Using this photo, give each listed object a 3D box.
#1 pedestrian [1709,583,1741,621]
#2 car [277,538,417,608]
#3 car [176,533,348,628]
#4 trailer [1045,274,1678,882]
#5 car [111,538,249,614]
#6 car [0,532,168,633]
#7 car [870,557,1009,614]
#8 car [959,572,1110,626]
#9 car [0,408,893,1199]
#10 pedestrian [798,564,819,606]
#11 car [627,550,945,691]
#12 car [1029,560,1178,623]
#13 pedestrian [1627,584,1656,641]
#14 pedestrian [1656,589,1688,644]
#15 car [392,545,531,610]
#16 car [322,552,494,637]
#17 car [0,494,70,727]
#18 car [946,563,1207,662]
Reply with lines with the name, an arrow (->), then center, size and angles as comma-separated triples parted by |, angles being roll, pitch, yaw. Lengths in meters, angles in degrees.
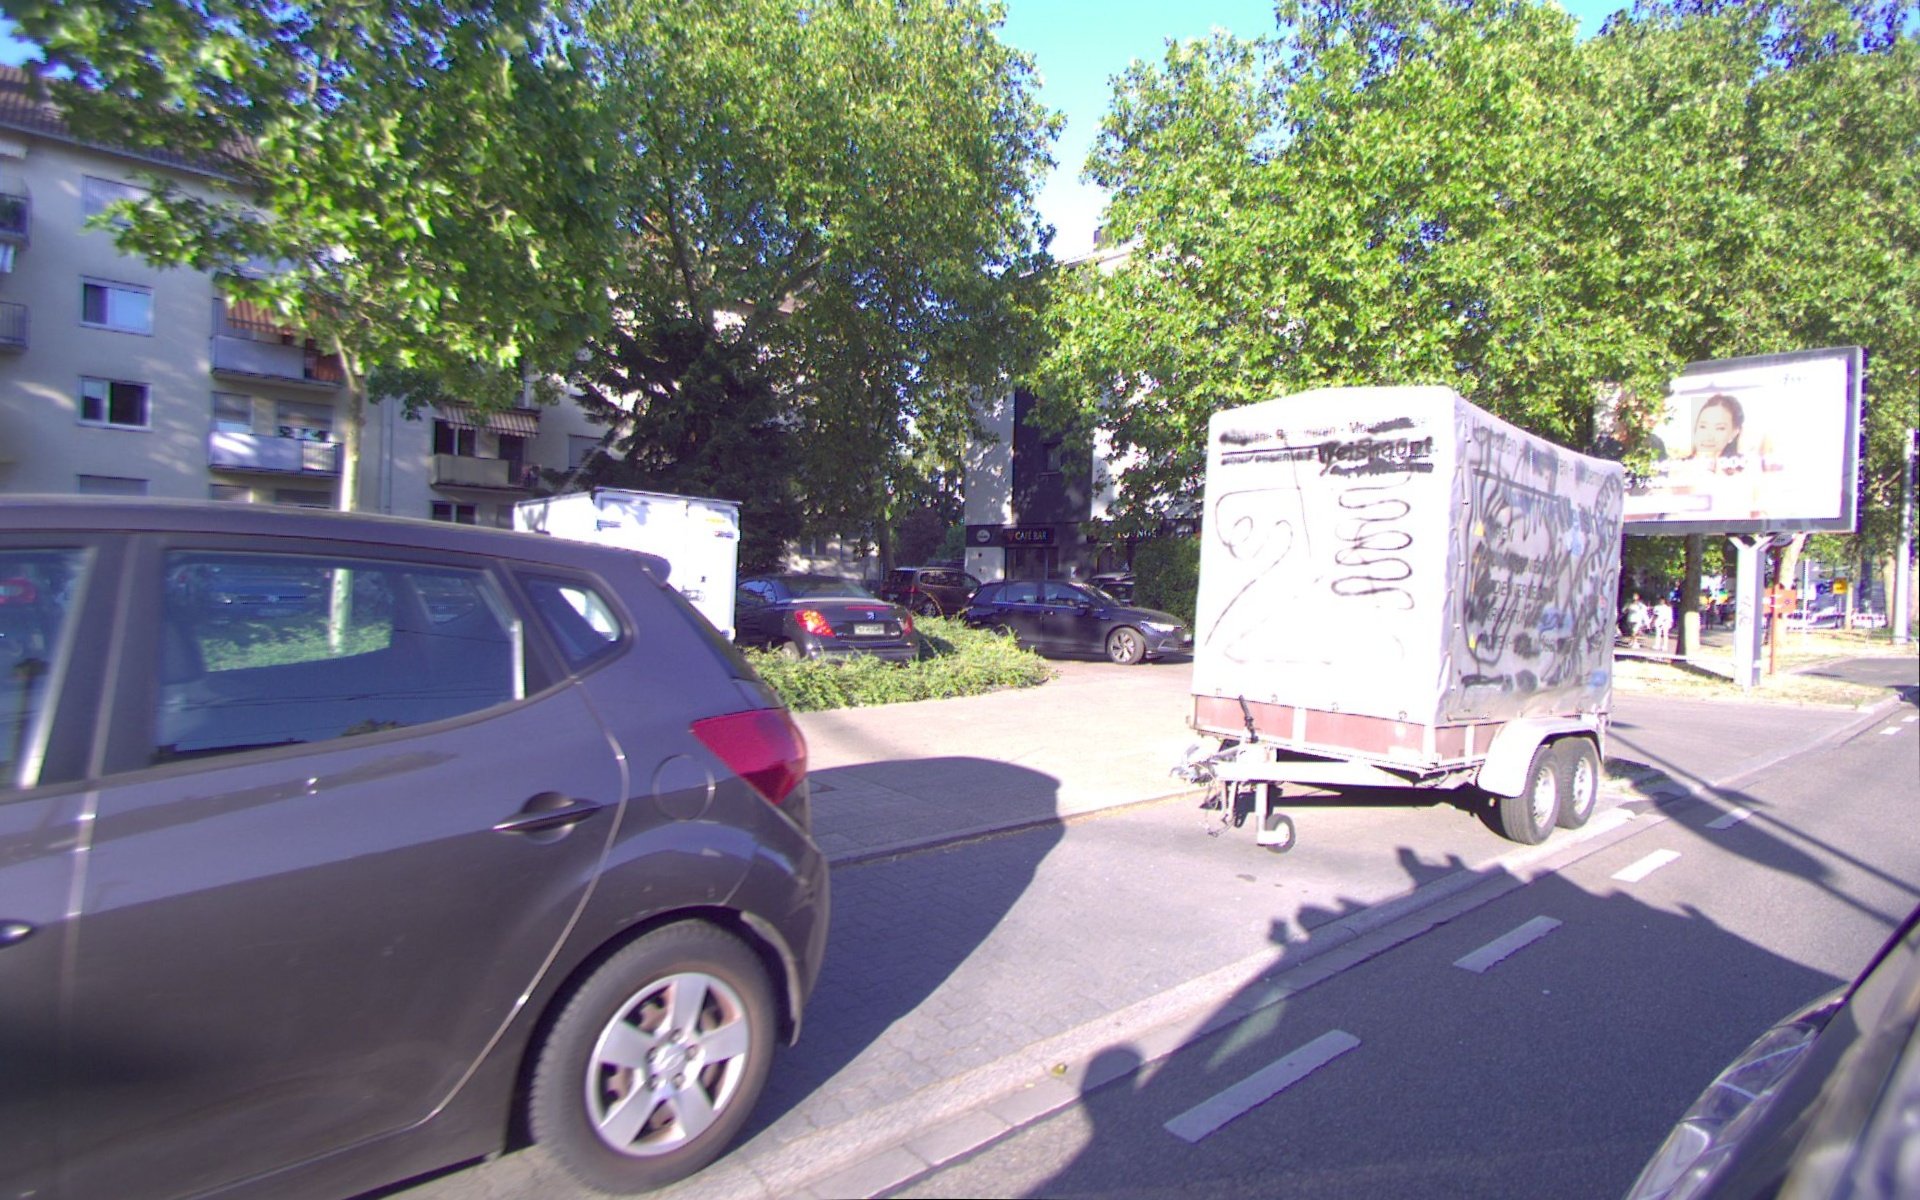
pedestrian -> 38.534, 0.092, 50.988 | 0.935, 1.887, 1.062 | 1, 1, -41
car -> -14.687, -0.657, 24.144 | 1.967, 1.514, 4.285 | 0, 2, -44
car -> -13.035, -0.399, 18.791 | 1.967, 1.554, 4.285 | 0, 2, -44
trailer -> 2.849, -0.115, 6.579 | 4.569, 2.620, 1.889 | 0, 1, -41
car -> -17.310, -0.569, 22.388 | 1.967, 1.514, 4.285 | 0, 2, -44
car -> -15.126, -0.337, 17.374 | 1.967, 1.514, 4.285 | 0, 2, -44
car -> -0.666, -0.460, 33.596 | 4.116, 1.773, 2.002 | 1, 1, -30
car -> 2.266, -0.027, 30.507 | 4.116, 1.494, 2.002 | 1, 1, -30
car -> -2.261, 0.491, 2.161 | 3.930, 1.651, 1.799 | 0, 2, -41
pedestrian -> -5.973, -0.605, 39.908 | 0.562, 1.630, 0.586 | 1, 1, -41
car -> -2.374, 0.145, 13.047 | 1.967, 1.514, 4.285 | 0, 2, -44
car -> 4.128, -0.244, 28.770 | 4.223, 1.630, 1.819 | 0, 2, -41
pedestrian -> 20.468, 0.373, 30.394 | 0.683, 1.689, 0.554 | 1, 1, -45
pedestrian -> 20.967, 0.476, 29.804 | 0.753, 1.561, 0.625 | 1, 1, -45
car -> -12.779, -0.603, 25.816 | 1.967, 1.514, 4.285 | 0, 2, -44
car -> -11.160, -0.163, 20.313 | 1.967, 1.514, 4.285 | 0, 2, -44
car -> -8.304, 0.072, 7.958 | 1.770, 1.570, 4.120 | 1, -1, -39
car -> 2.090, 0.157, 18.260 | 4.256, 1.514, 1.980 | 2, 1, 28
